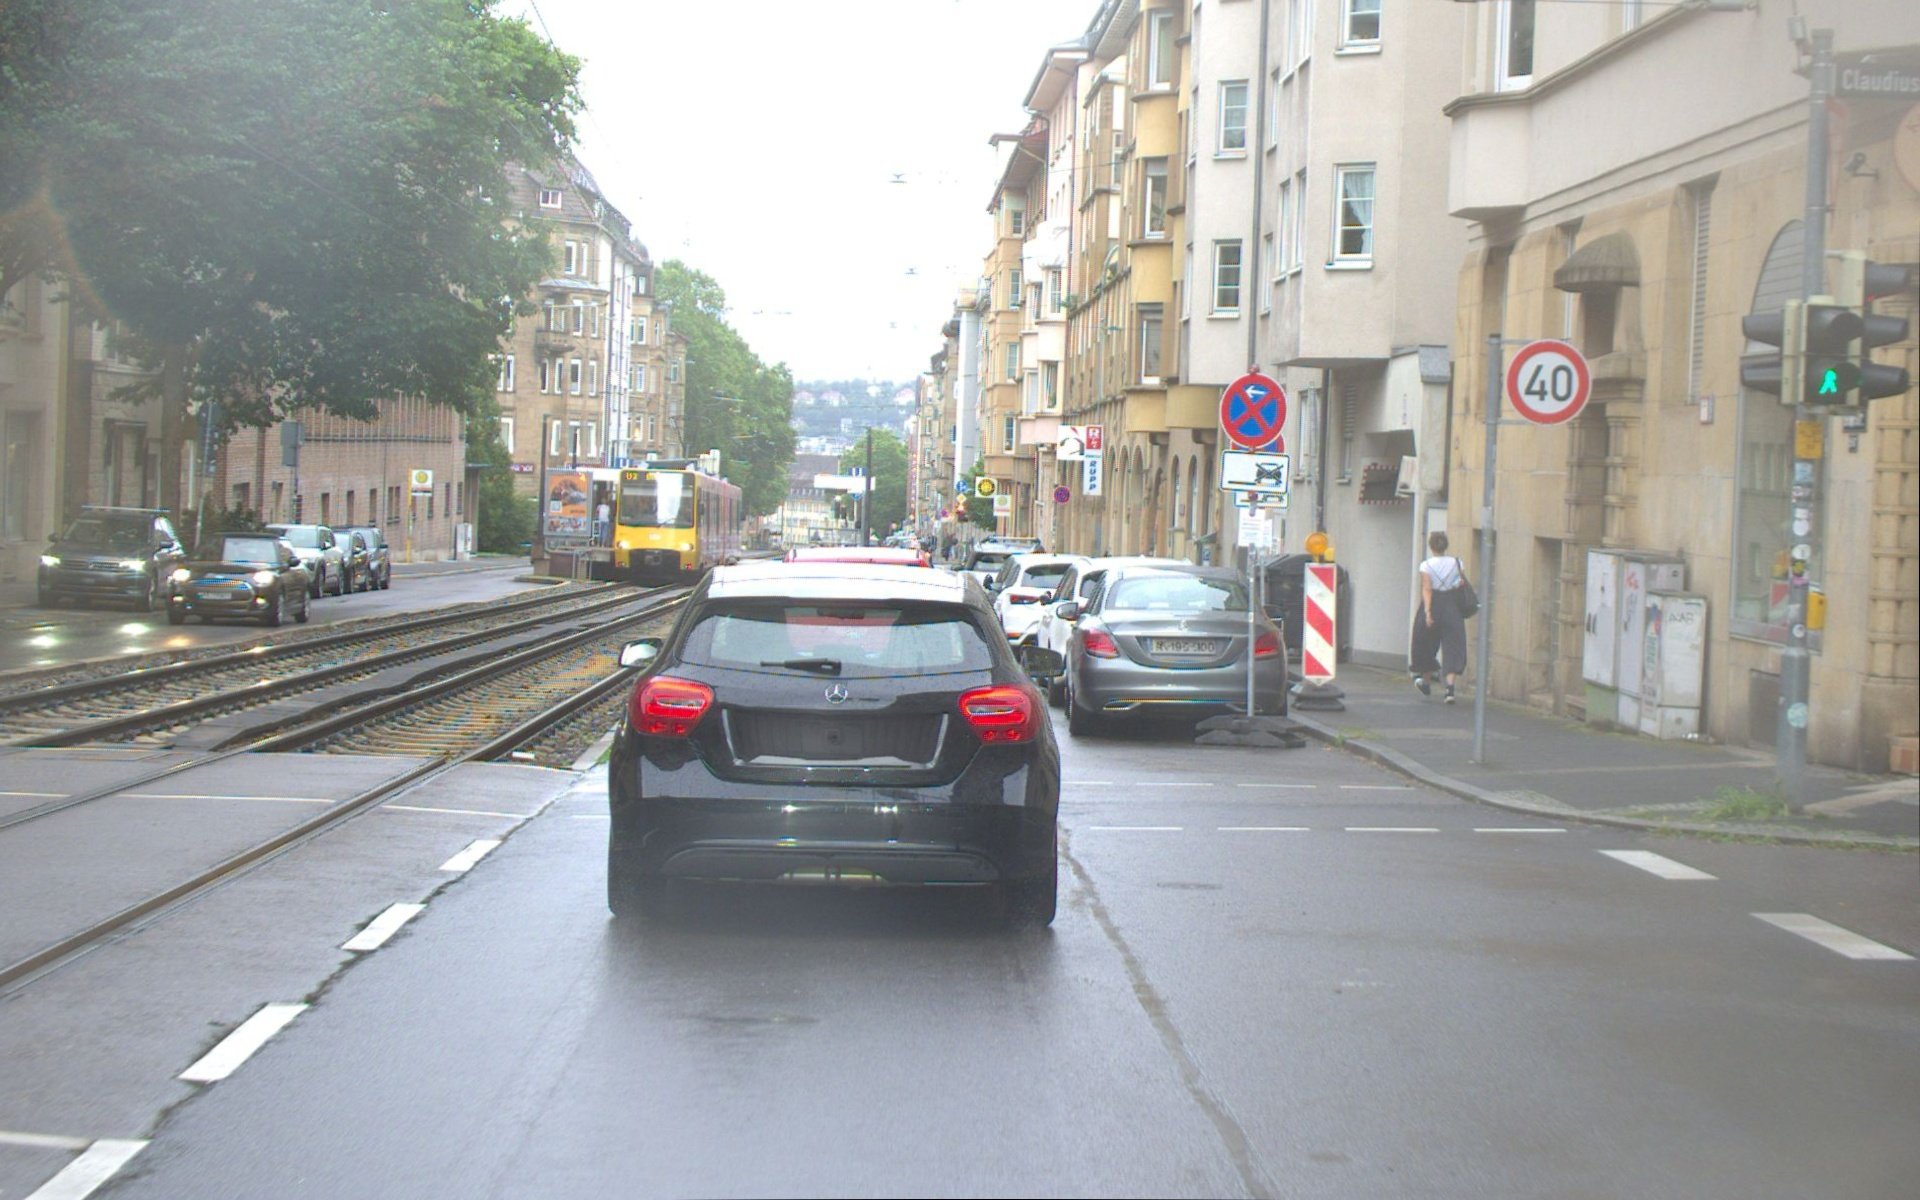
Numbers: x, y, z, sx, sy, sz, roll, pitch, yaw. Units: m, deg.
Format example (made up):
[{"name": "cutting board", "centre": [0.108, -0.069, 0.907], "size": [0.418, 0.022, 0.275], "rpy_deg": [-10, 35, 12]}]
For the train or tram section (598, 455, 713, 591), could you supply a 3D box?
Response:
[{"name": "train or tram section", "centre": [-9.792, -2.474, 112.128], "size": [2.745, 4.048, 17.216], "rpy_deg": [1, 1, -2]}]

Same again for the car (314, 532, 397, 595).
[{"name": "car", "centre": [-14.794, -0.915, 84.203], "size": [1.572, 1.462, 3.045], "rpy_deg": [2, 1, -3]}]

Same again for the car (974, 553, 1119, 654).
[{"name": "car", "centre": [1.286, 0.049, 52.835], "size": [1.832, 1.463, 4.376], "rpy_deg": [1, 0, -3]}]

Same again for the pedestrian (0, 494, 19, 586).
[{"name": "pedestrian", "centre": [-17.678, -1.101, 62.845], "size": [0.728, 1.657, 0.771], "rpy_deg": [2, 1, -2]}]

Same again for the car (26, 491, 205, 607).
[{"name": "car", "centre": [-14.234, -0.885, 58.197], "size": [1.953, 1.736, 4.779], "rpy_deg": [4, 1, -3]}]

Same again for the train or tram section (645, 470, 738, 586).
[{"name": "train or tram section", "centre": [-9.928, -2.656, 128.559], "size": [2.745, 4.048, 15.663], "rpy_deg": [1, 1, -2]}]

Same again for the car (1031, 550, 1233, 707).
[{"name": "car", "centre": [1.687, 0.268, 35.108], "size": [1.712, 1.463, 4.774], "rpy_deg": [1, 0, -1]}]

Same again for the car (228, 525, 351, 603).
[{"name": "car", "centre": [-14.676, -0.807, 75.465], "size": [1.961, 1.600, 4.329], "rpy_deg": [2, 1, -2]}]

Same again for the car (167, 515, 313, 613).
[{"name": "car", "centre": [-11.153, -0.567, 53.461], "size": [1.653, 1.458, 3.735], "rpy_deg": [0, 1, -3]}]

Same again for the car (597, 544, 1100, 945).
[{"name": "car", "centre": [-0.449, 0.517, 14.711], "size": [1.834, 1.448, 3.902], "rpy_deg": [1, 1, -1]}]

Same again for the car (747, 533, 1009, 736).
[{"name": "car", "centre": [-0.679, 0.252, 29.036], "size": [1.993, 1.520, 4.246], "rpy_deg": [2, 0, -1]}]

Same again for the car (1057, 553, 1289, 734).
[{"name": "car", "centre": [1.761, 0.342, 29.741], "size": [1.711, 1.405, 4.817], "rpy_deg": [1, 0, 0]}]

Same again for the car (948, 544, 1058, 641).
[{"name": "car", "centre": [0.772, -0.134, 60.751], "size": [1.841, 1.602, 4.760], "rpy_deg": [1, 0, 1]}]

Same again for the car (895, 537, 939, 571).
[{"name": "car", "centre": [-1.962, -2.130, 159.615], "size": [1.887, 1.520, 4.245], "rpy_deg": [2, 0, 1]}]

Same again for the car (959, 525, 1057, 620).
[{"name": "car", "centre": [0.904, -0.520, 66.812], "size": [1.778, 1.744, 4.548], "rpy_deg": [1, 0, 0]}]

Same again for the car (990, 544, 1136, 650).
[{"name": "car", "centre": [1.397, -0.044, 48.166], "size": [1.789, 1.381, 4.395], "rpy_deg": [1, 0, -1]}]

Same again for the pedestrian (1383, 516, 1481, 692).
[{"name": "pedestrian", "centre": [4.616, 0.038, 33.632], "size": [0.804, 1.681, 0.754], "rpy_deg": [1, 0, -2]}]

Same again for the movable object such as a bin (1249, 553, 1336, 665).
[{"name": "movable object such as a bin", "centre": [4.442, 0.121, 45.989], "size": [0.980, 1.463, 1.273], "rpy_deg": [1, 0, -2]}]
